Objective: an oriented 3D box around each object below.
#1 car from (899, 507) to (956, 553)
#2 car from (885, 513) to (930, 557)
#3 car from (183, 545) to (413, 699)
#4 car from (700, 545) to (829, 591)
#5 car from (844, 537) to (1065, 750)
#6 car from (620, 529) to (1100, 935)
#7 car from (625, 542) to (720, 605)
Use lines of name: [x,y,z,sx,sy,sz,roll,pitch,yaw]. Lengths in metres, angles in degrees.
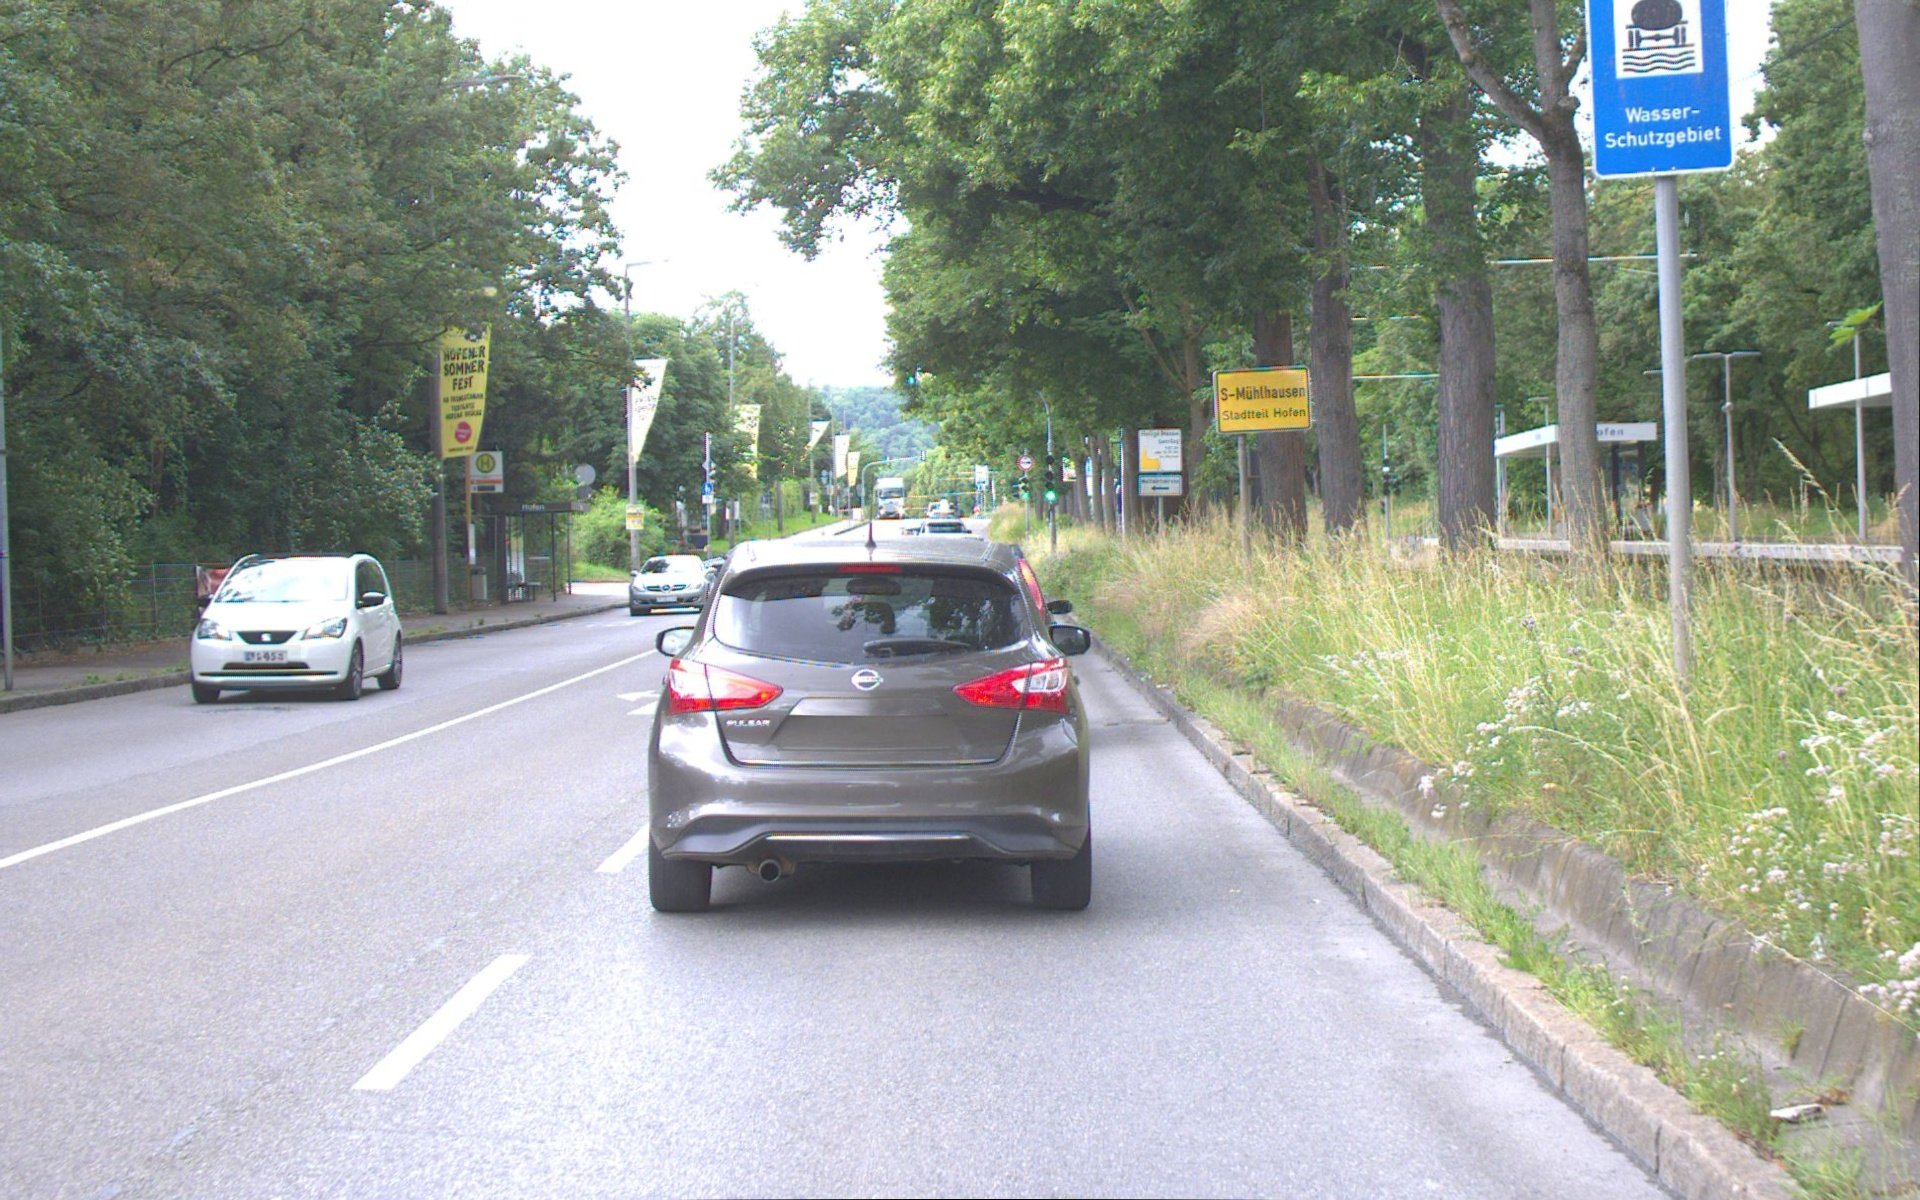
car: [-1.138,-2.463,122.439,1.993,1.568,4.000,1,0,0]
car: [-2.493,-3.067,162.515,1.993,2.007,4.000,1,0,-2]
car: [-6.717,0.186,35.200,1.580,1.461,3.696,-1,1,1]
car: [-5.929,-0.963,103.960,3.692,1.332,1.760,0,1,40]
car: [-0.040,0.270,25.529,1.502,1.436,3.542,-1,1,0]
car: [-0.361,0.467,14.805,1.783,1.501,3.696,-1,1,1]
car: [-6.357,-0.596,76.346,1.758,1.332,3.696,-1,1,1]
